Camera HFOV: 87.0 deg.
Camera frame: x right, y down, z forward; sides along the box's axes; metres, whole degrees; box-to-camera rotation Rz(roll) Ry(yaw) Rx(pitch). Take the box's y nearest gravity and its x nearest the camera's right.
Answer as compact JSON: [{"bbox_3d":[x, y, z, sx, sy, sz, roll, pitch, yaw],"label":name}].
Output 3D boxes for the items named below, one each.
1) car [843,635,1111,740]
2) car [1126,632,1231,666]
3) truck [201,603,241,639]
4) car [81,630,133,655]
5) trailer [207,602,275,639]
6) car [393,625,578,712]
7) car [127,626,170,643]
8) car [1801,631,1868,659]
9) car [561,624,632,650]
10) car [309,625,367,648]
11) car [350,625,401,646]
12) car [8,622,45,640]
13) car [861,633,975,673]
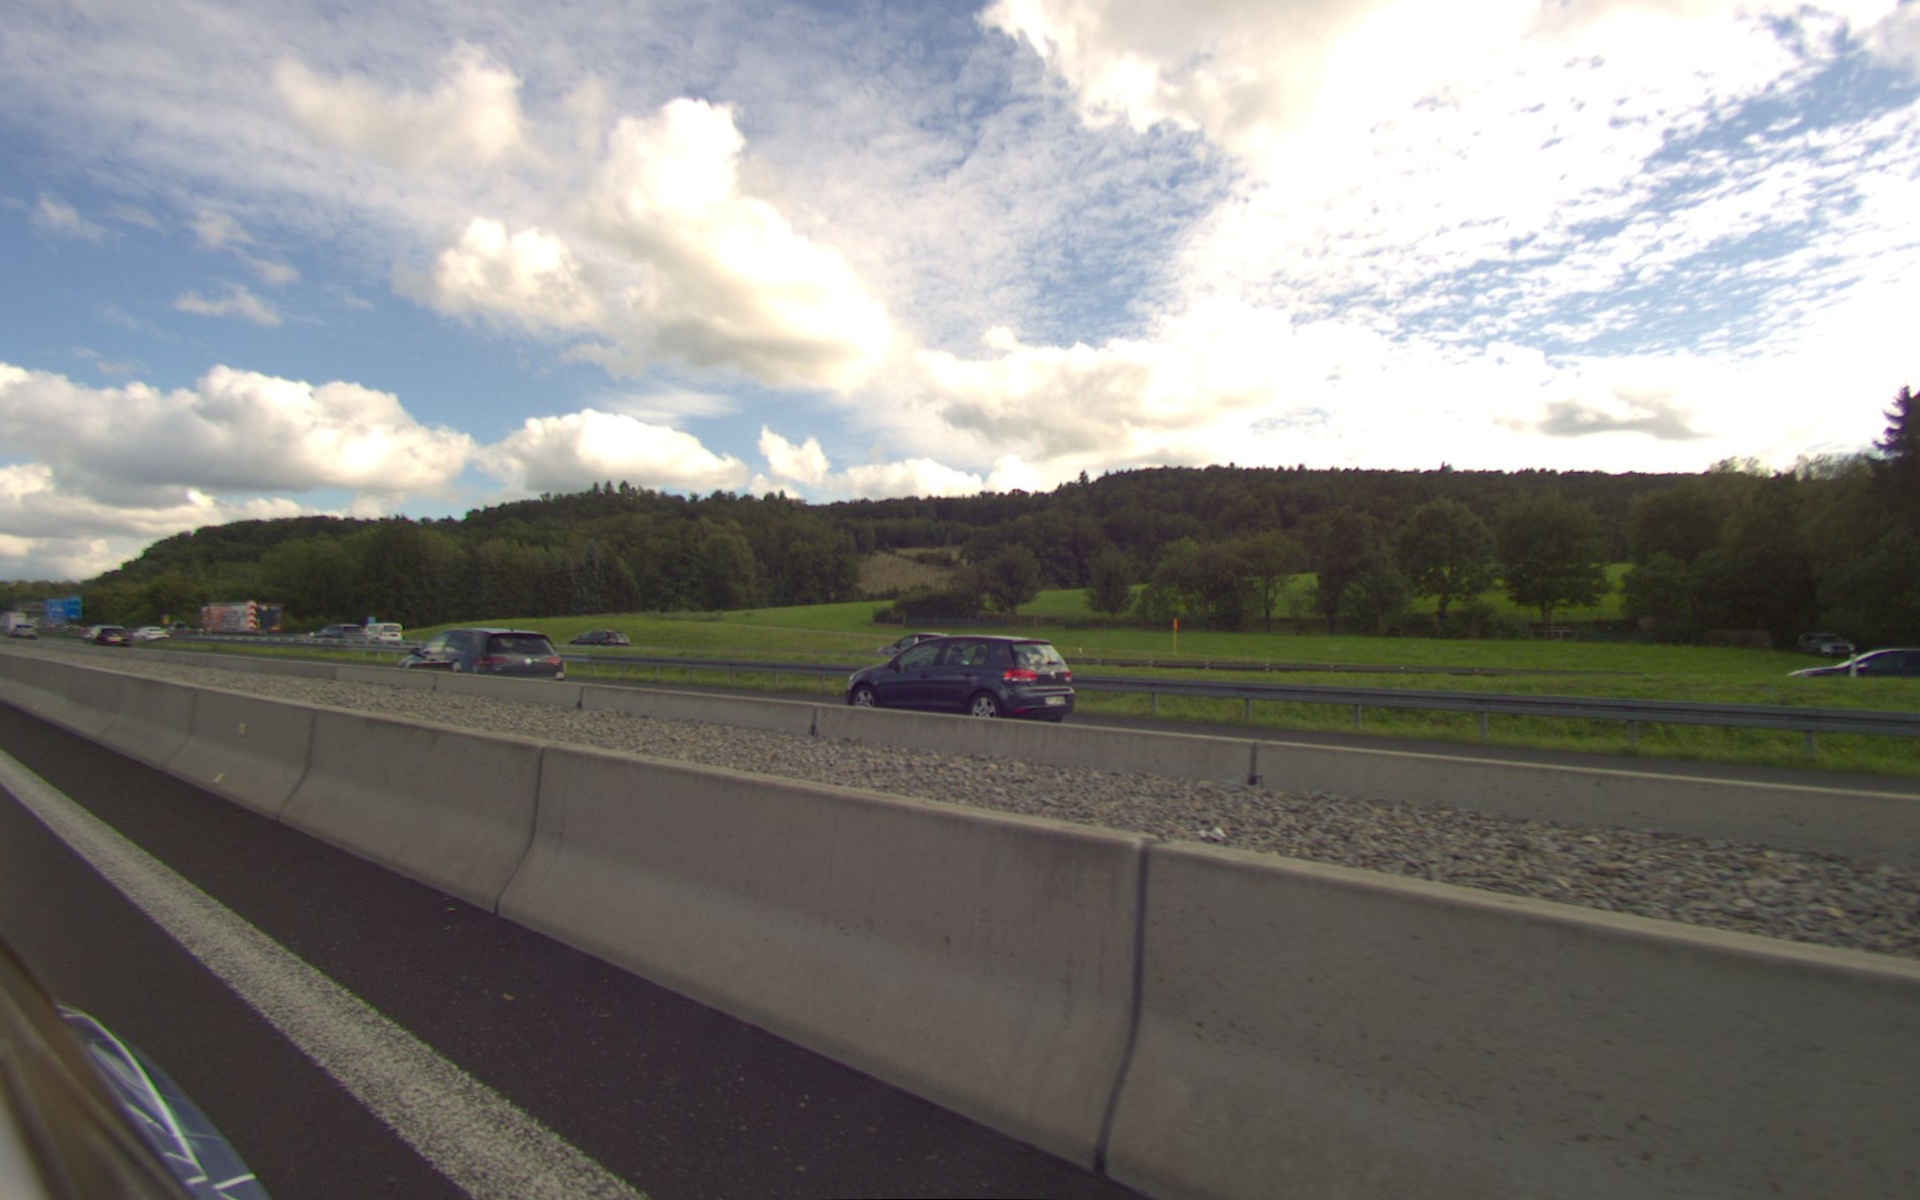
[{"bbox_3d":[0.173,1.304,16.148,4.156,1.409,1.709,-1,-3,41],"label":"car"},{"bbox_3d":[10.949,2.432,50.889,4.880,1.560,1.756,-1,-3,36],"label":"car"},{"bbox_3d":[-81.334,2.296,111.364,5.141,3.790,1.975,-1,-3,37],"label":"truck"},{"bbox_3d":[-52.720,2.624,62.500,4.689,1.412,1.736,-1,-3,41],"label":"car"},{"bbox_3d":[-76.665,2.210,107.781,13.224,3.765,1.975,-1,-3,37],"label":"trailer"},{"bbox_3d":[-8.611,1.173,18.259,3.740,1.409,1.624,-1,-3,41],"label":"car"},{"bbox_3d":[-73.914,3.144,92.163,4.386,1.411,1.758,0,-3,34],"label":"car"},{"bbox_3d":[57.259,2.911,66.316,1.985,1.697,3.973,-1,-1,20],"label":"car"},{"bbox_3d":[-23.021,2.338,63.963,4.880,1.560,1.756,-1,-3,36],"label":"car"},{"bbox_3d":[-44.356,2.598,72.113,4.880,1.560,1.756,-1,-3,36],"label":"car"},{"bbox_3d":[-47.538,2.875,82.266,4.880,1.560,1.756,-1,-3,36],"label":"car"},{"bbox_3d":[-84.098,2.798,91.167,4.505,1.544,1.973,-1,-3,41],"label":"car"},{"bbox_3d":[-1.839,2.230,43.353,4.880,1.560,1.756,-1,-3,36],"label":"car"}]
